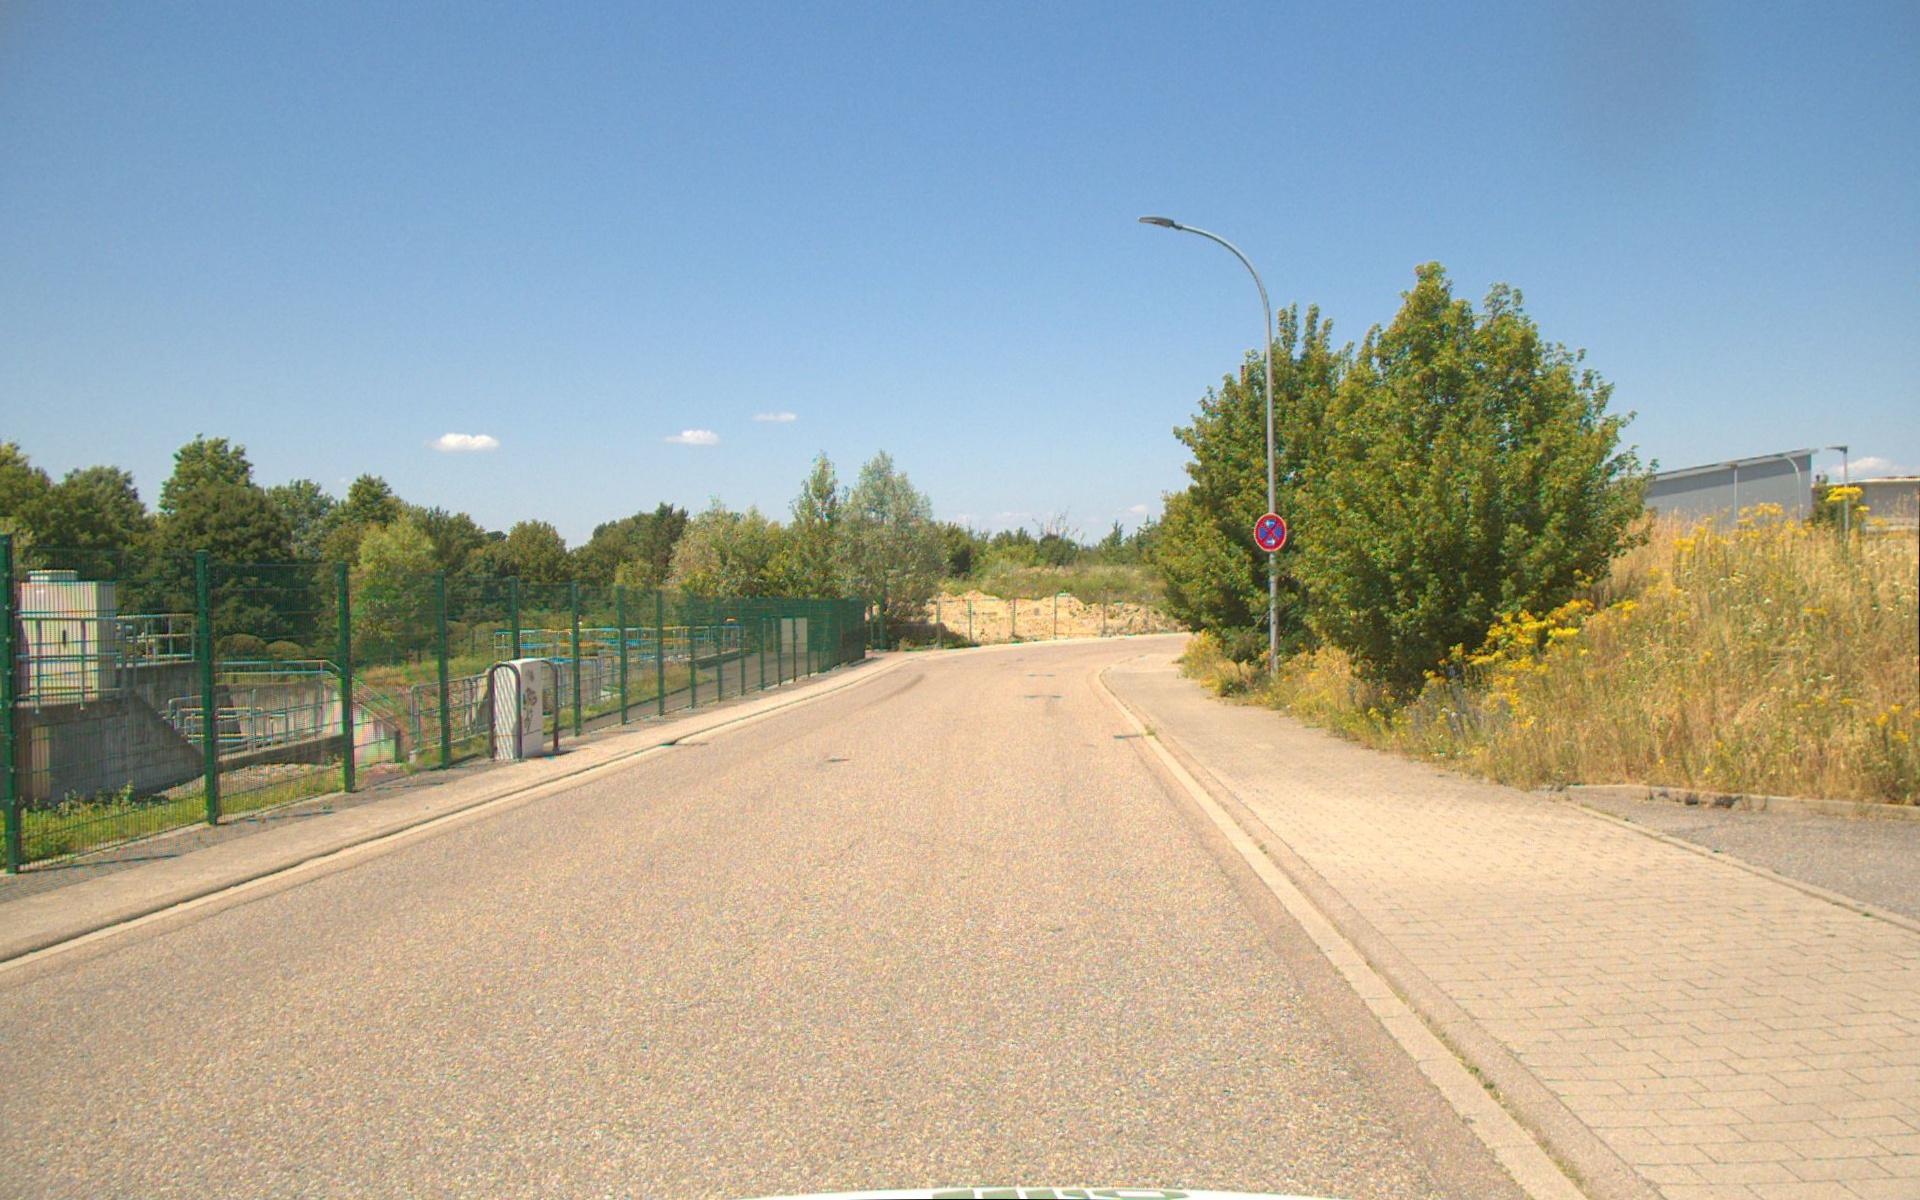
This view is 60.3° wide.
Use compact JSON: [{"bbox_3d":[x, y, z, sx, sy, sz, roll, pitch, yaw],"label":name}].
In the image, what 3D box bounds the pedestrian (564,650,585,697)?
[{"bbox_3d":[-15.683,2.982,67.270,0.593,1.871,0.805,-2,-2,1],"label":"pedestrian"}]
